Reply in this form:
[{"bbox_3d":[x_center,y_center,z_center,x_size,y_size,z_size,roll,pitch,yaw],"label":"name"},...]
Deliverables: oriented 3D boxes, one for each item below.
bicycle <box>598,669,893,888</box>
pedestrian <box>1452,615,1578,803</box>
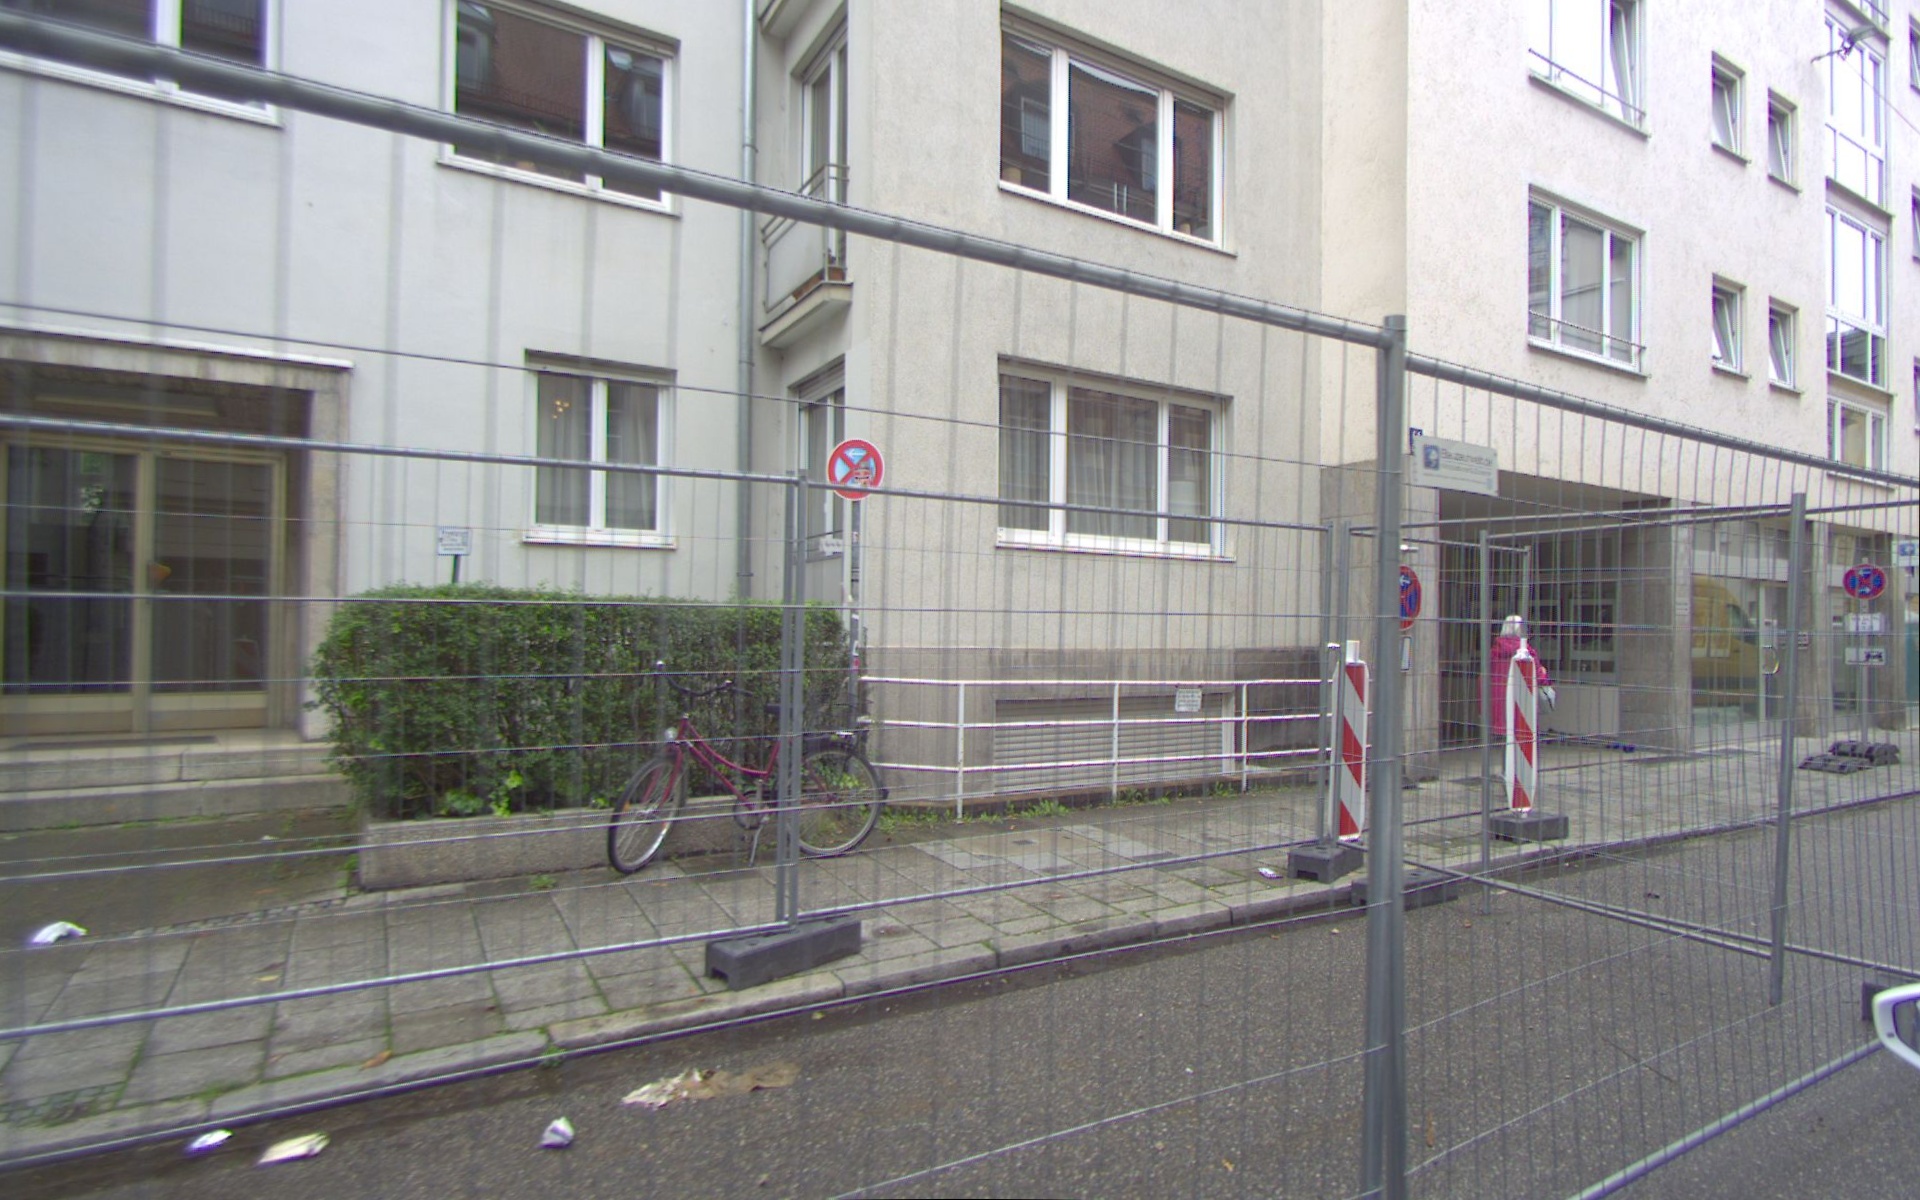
[{"bbox_3d":[-1.199,0.962,5.750,1.578,1.077,0.375,2,4,-30],"label":"bicycle"},{"bbox_3d":[4.850,0.918,8.793,0.738,1.552,0.635,1,0,-28],"label":"pedestrian"}]
